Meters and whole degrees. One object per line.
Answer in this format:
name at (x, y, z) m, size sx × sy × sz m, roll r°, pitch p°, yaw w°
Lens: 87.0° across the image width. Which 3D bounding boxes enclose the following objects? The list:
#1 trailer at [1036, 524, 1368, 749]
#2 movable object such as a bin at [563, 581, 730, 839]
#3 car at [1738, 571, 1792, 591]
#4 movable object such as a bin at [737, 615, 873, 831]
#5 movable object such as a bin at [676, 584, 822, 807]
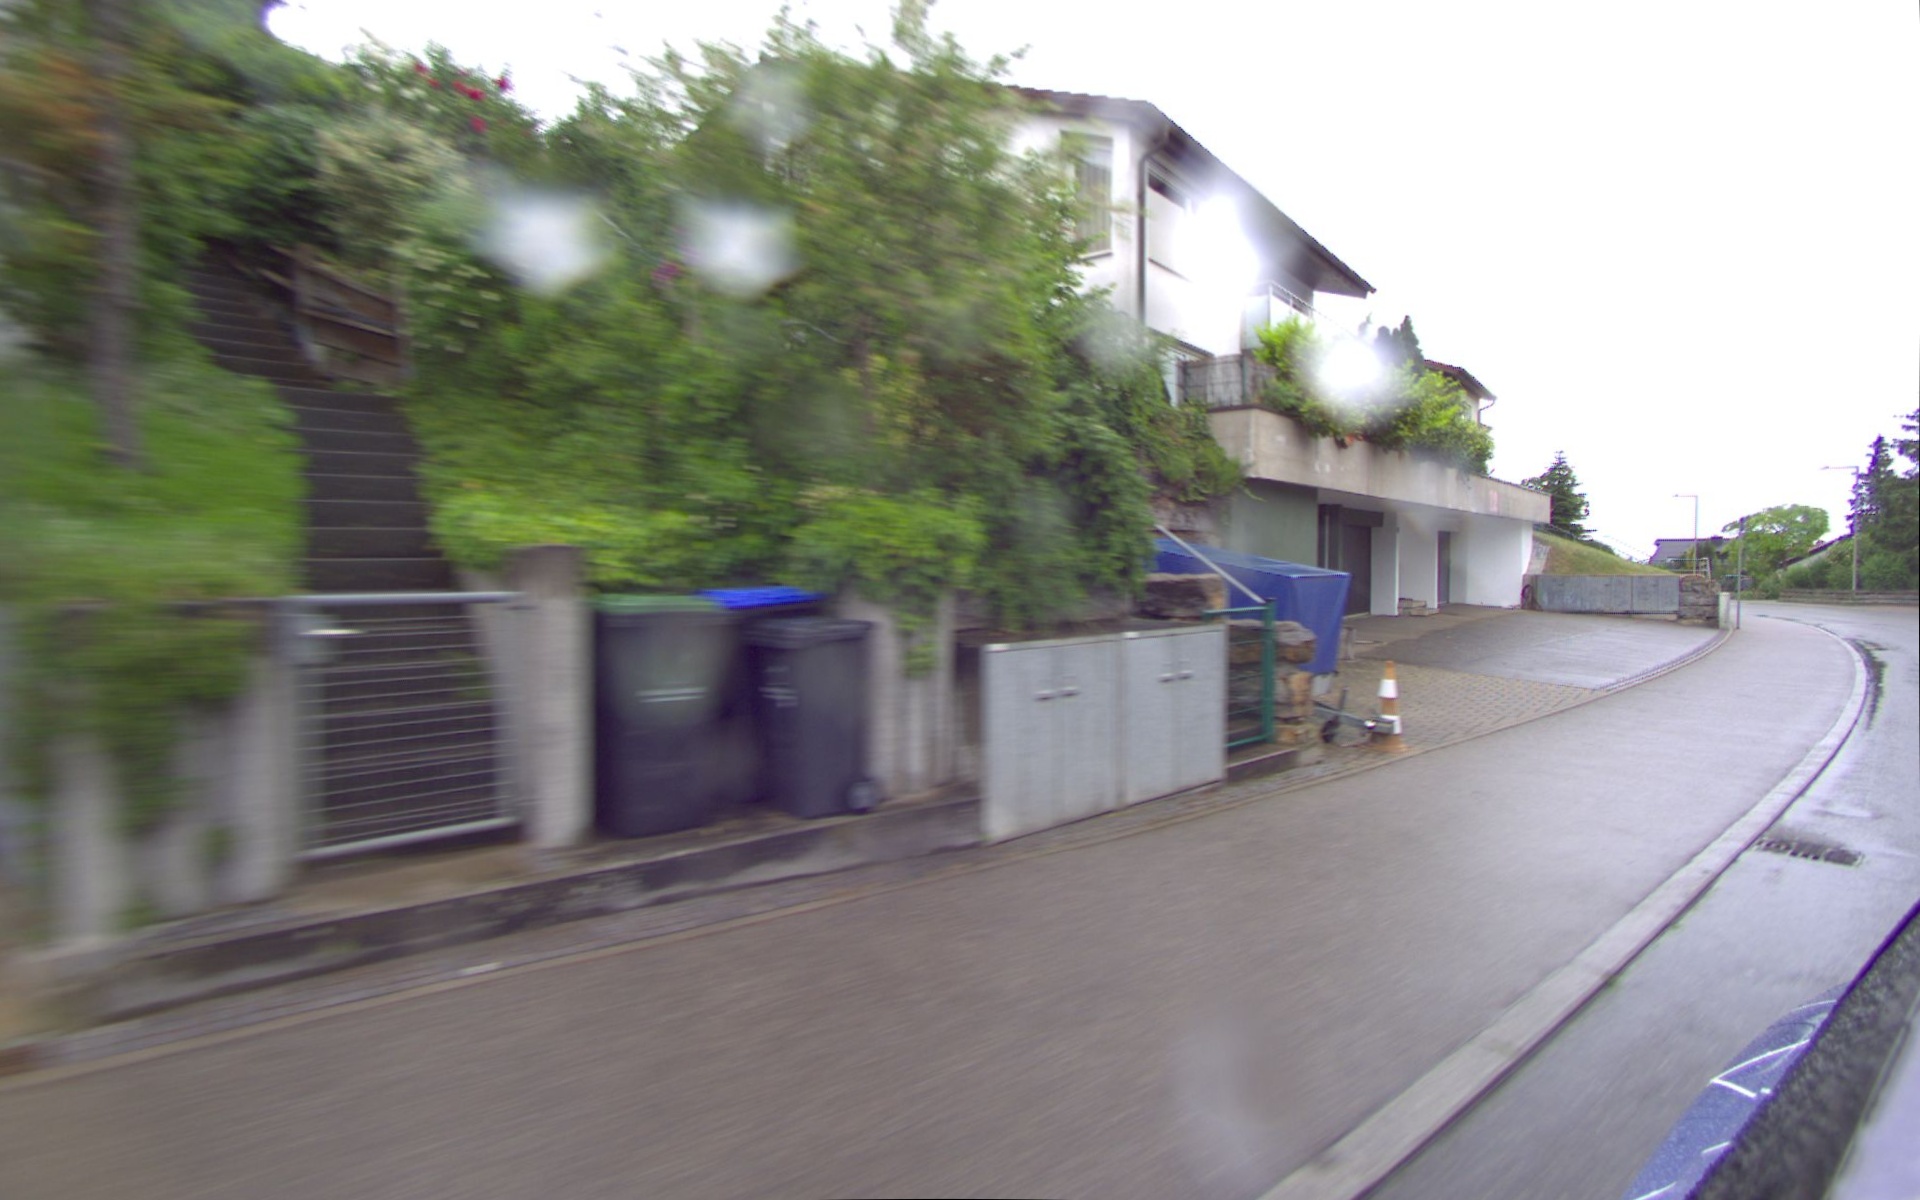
trailer at (2.245, 0.242, 9.494) m, size 1.967 × 1.769 × 2.356 m, roll -1°, pitch 2°, yaw -44°
movable object such as a bin at (-1.406, 0.447, 4.540) m, size 0.566 × 1.059 × 0.493 m, roll 0°, pitch 2°, yaw -41°
car at (60.450, -1.444, 75.996) m, size 1.431 × 1.499 × 3.033 m, roll -1°, pitch 1°, yaw -44°
movable object such as a bin at (-0.747, 0.556, 4.847) m, size 0.449 × 0.934 × 0.493 m, roll 0°, pitch 2°, yaw -40°
movable object such as a bin at (-1.090, 0.453, 5.219) m, size 0.566 × 1.059 × 0.493 m, roll 0°, pitch 2°, yaw -41°
